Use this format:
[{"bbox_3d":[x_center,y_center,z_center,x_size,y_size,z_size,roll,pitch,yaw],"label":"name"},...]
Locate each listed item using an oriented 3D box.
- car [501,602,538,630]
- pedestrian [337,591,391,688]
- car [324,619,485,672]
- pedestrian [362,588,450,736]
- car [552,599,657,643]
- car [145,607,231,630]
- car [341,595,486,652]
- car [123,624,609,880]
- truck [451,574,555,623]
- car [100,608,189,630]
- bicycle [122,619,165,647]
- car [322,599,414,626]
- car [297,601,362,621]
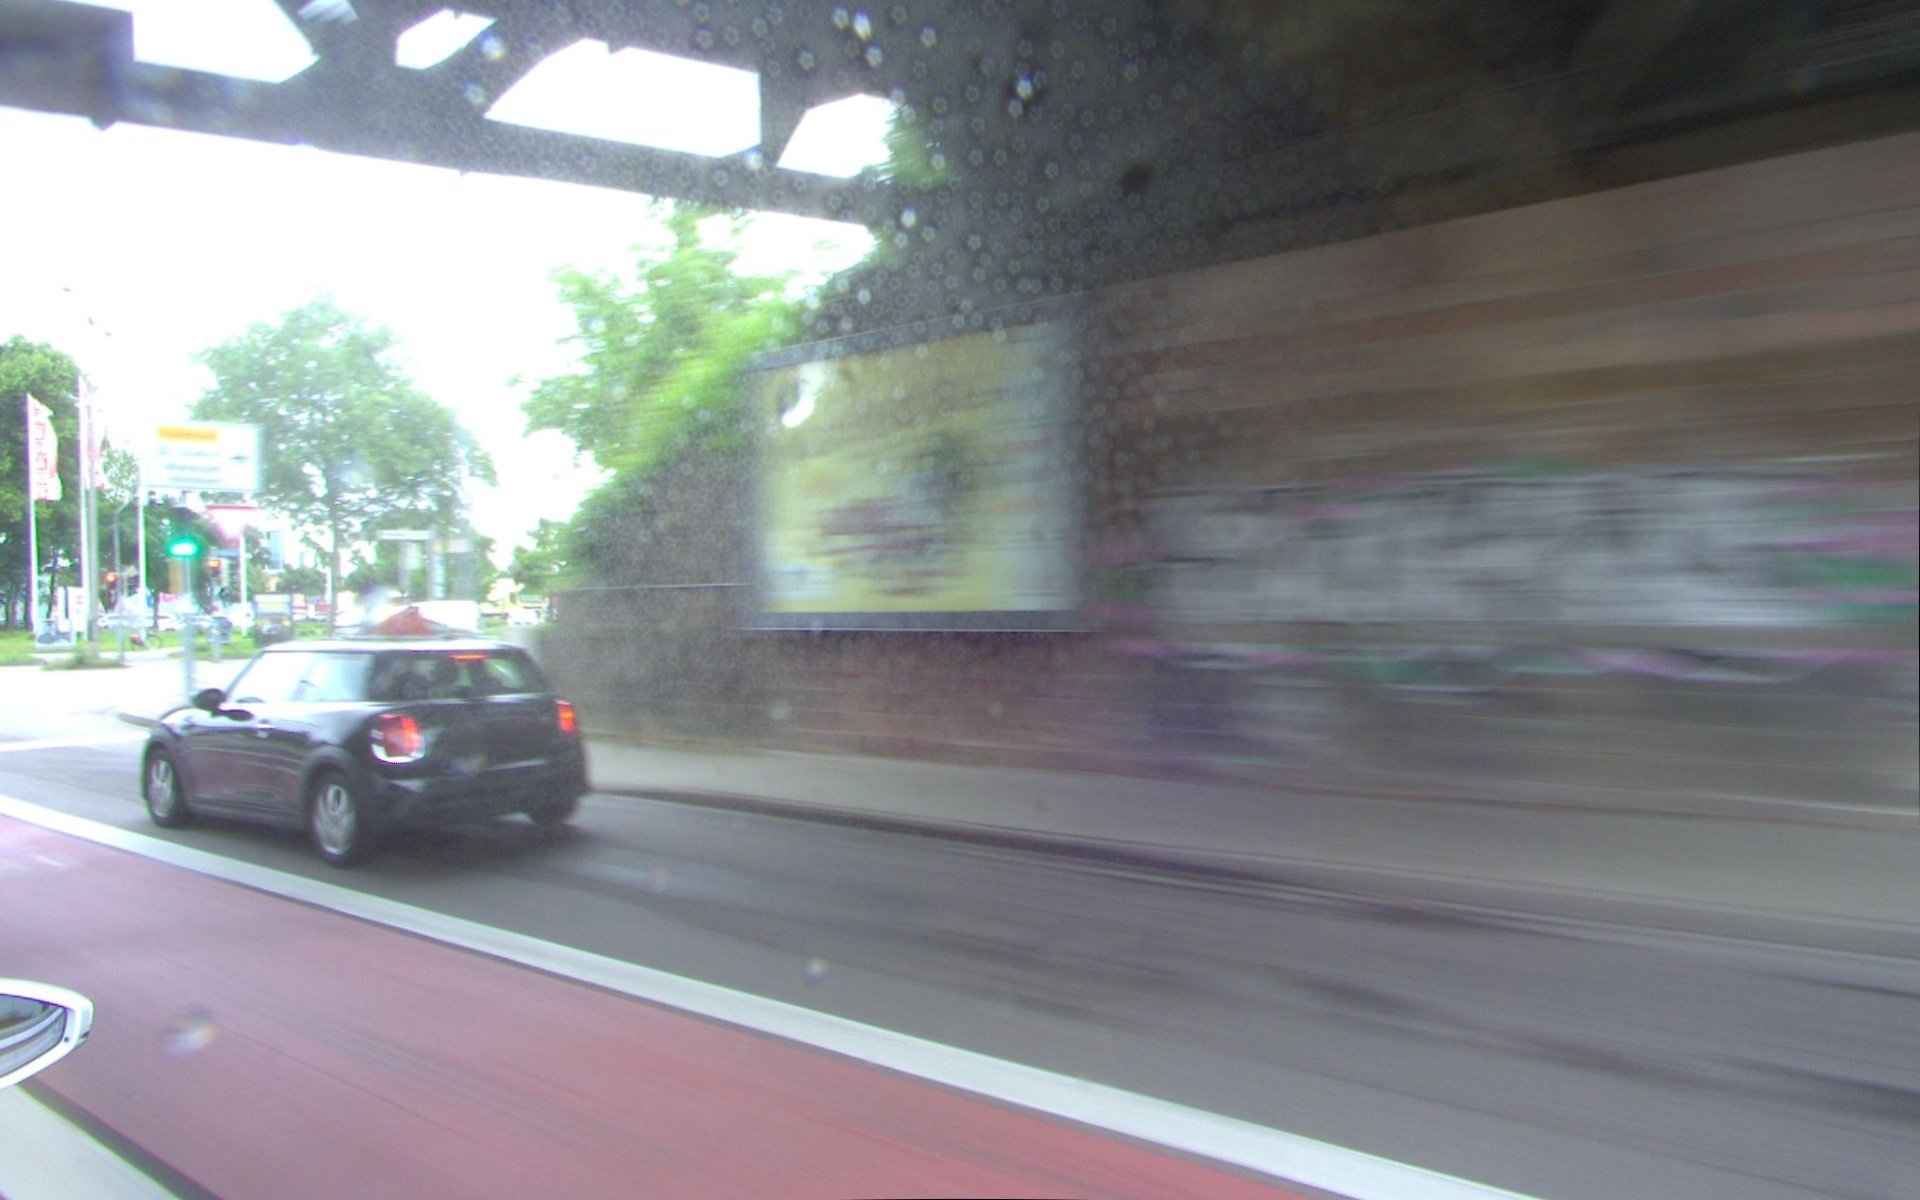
[{"bbox_3d":[-25.251,0.931,57.472,1.796,1.516,4.223,0,-1,-22],"label":"car"},{"bbox_3d":[-10.487,0.674,17.648,0.733,1.662,0.775,-1,1,-27],"label":"pedestrian"},{"bbox_3d":[-14.728,1.157,26.671,1.631,1.298,3.396,0,-1,37],"label":"car"},{"bbox_3d":[-7.008,0.745,12.658,0.863,1.783,0.782,-1,1,-36],"label":"pedestrian"},{"bbox_3d":[-13.488,0.773,38.015,3.628,1.552,1.690,-1,1,-24],"label":"car"},{"bbox_3d":[-54.553,1.332,70.857,1.901,1.516,4.442,-1,-1,27],"label":"car"},{"bbox_3d":[-19.285,0.808,35.552,4.351,1.852,1.874,-1,-1,-26],"label":"car"},{"bbox_3d":[-4.567,0.933,7.586,3.719,1.450,1.676,0,0,32],"label":"car"},{"bbox_3d":[-36.253,-0.028,79.256,9.116,3.610,2.935,-1,-1,32],"label":"truck"},{"bbox_3d":[-60.198,1.424,74.014,2.138,1.516,4.669,-1,-2,30],"label":"car"},{"bbox_3d":[-34.892,1.409,42.837,0.479,1.133,1.806,-1,1,-6],"label":"bicycle"},{"bbox_3d":[-34.017,0.752,57.691,1.901,1.516,4.219,-1,-1,28],"label":"car"},{"bbox_3d":[-58.001,0.973,92.206,2.121,1.699,4.550,-1,1,27],"label":"car"}]
